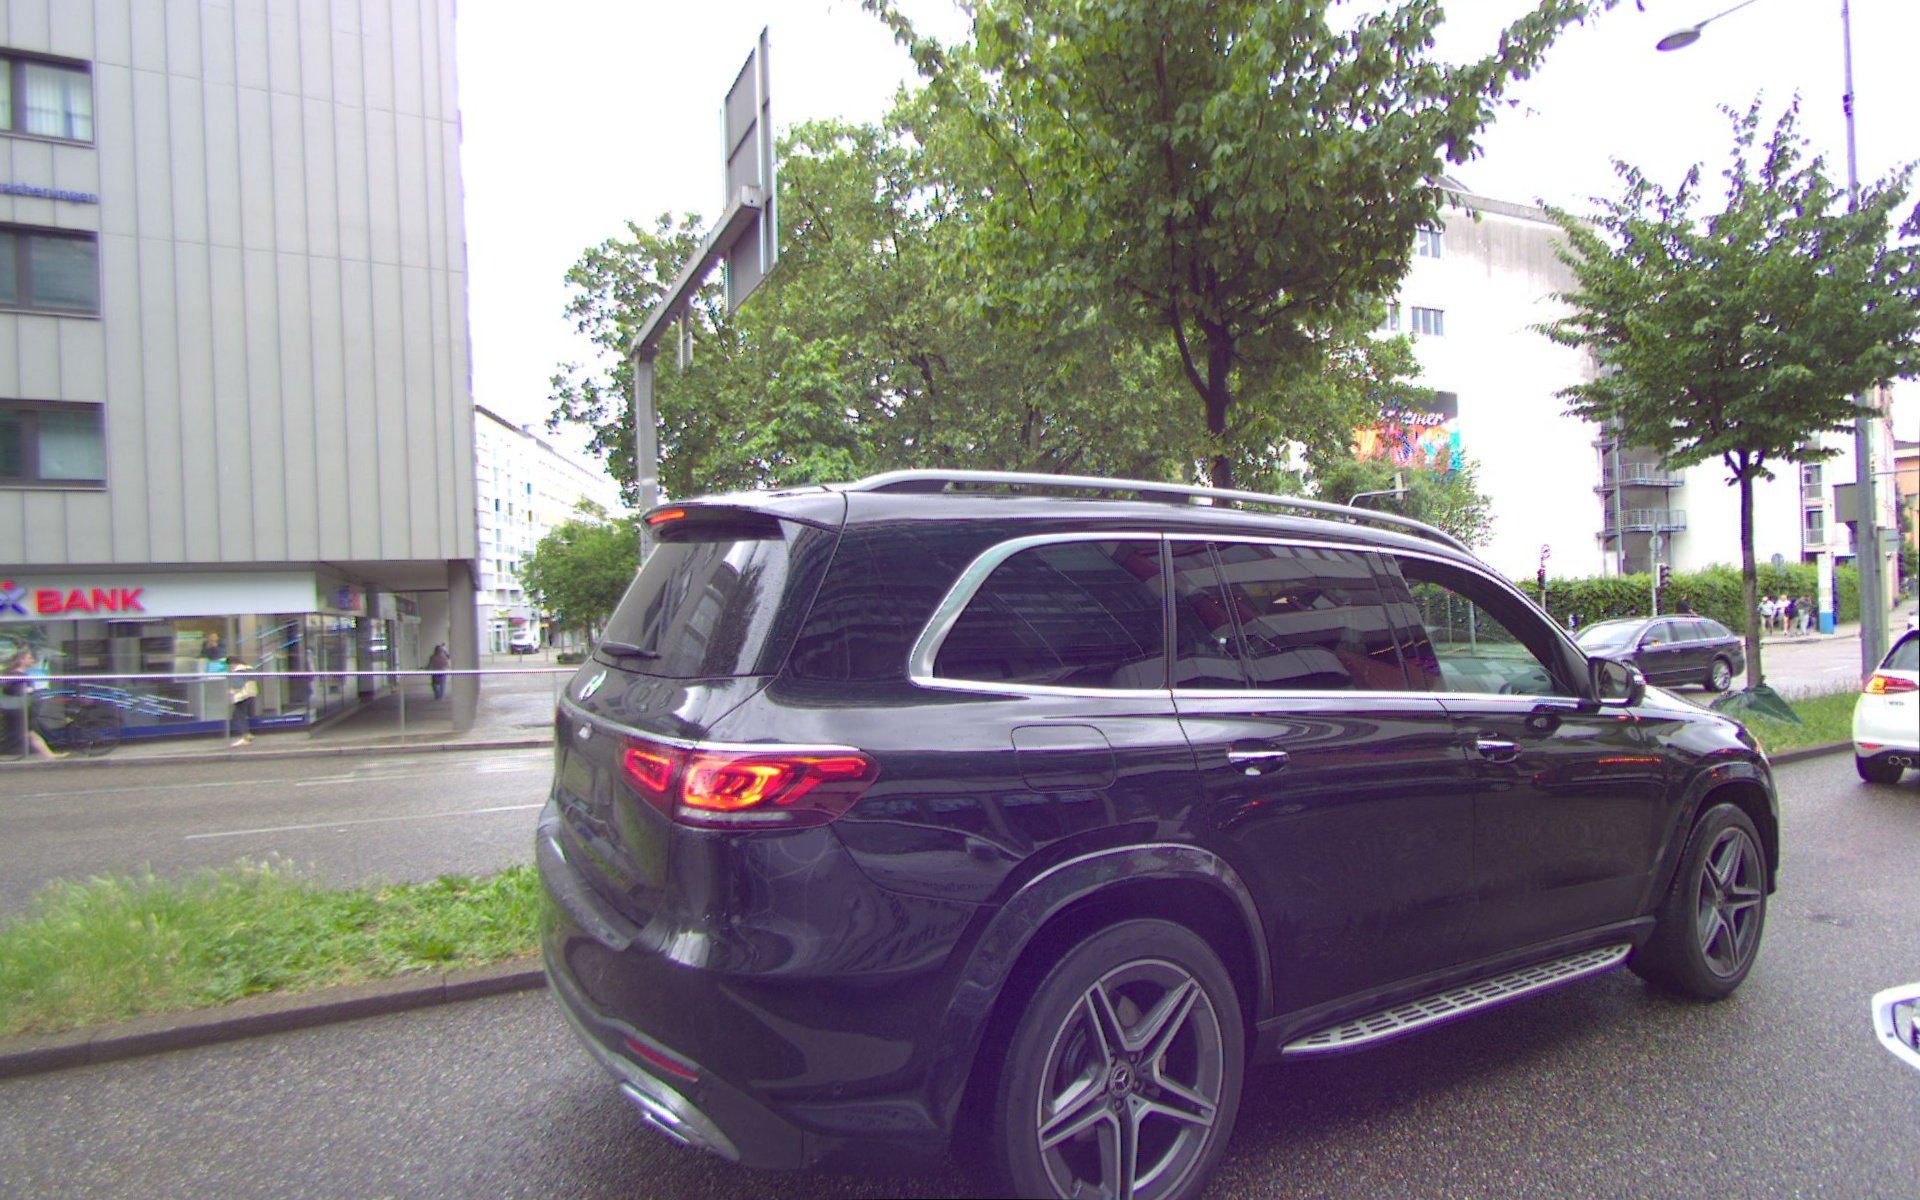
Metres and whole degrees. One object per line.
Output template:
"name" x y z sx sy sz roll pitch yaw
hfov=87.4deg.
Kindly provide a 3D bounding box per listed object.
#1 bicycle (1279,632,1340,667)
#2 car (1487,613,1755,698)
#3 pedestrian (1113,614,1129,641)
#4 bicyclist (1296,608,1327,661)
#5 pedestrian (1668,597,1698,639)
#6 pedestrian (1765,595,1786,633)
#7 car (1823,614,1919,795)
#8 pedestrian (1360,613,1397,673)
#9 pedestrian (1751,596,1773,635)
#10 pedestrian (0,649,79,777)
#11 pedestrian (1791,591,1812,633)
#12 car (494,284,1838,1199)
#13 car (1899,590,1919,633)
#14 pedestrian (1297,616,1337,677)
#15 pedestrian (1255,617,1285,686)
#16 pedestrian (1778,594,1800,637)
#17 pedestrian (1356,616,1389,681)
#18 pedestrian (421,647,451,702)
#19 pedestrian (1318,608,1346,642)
"bicycle" 10.416 1.475 29.911 1.918 1.013 0.612 2 -3 -31
"car" 12.731 1.065 19.380 4.660 1.505 1.634 0 -4 -16
"pedestrian" 10.109 1.735 63.009 0.723 1.664 0.635 2 -1 -23
"bicyclist" 10.478 1.025 29.984 0.602 1.550 0.629 2 -3 -30
"pedestrian" 29.135 0.714 40.470 0.721 1.664 0.638 2 0 -12
"pedestrian" 35.552 0.621 43.775 0.522 1.620 0.576 2 -1 -36
"car" 9.530 0.867 8.949 3.800 1.448 1.768 0 0 -32
"pedestrian" 11.969 1.211 28.732 0.620 1.684 0.749 -2 0 -30
"pedestrian" 34.479 0.663 43.191 0.522 1.620 0.576 2 -1 -36
"pedestrian" -12.585 1.514 13.590 0.779 1.659 0.632 2 -1 -22
"pedestrian" 36.070 0.519 43.060 0.559 1.771 0.535 2 -1 -35
"car" 1.114 0.510 3.802 5.016 1.895 1.901 3 -1 -31
"car" 34.944 0.394 35.647 3.571 1.506 1.565 0 1 -33
"pedestrian" 10.992 1.423 30.979 0.698 1.807 0.922 2 -1 -19
"pedestrian" 7.791 1.292 25.265 0.568 1.684 0.559 -1 0 2
"pedestrian" 34.770 0.637 42.119 0.741 1.771 0.535 2 -1 -38
"pedestrian" 10.828 1.262 26.361 0.572 1.684 0.554 -2 0 -30
"pedestrian" -16.844 2.378 32.296 0.719 1.719 0.782 2 -3 -37
"pedestrian" 17.931 1.188 48.445 0.677 1.599 1.055 2 -1 -34
